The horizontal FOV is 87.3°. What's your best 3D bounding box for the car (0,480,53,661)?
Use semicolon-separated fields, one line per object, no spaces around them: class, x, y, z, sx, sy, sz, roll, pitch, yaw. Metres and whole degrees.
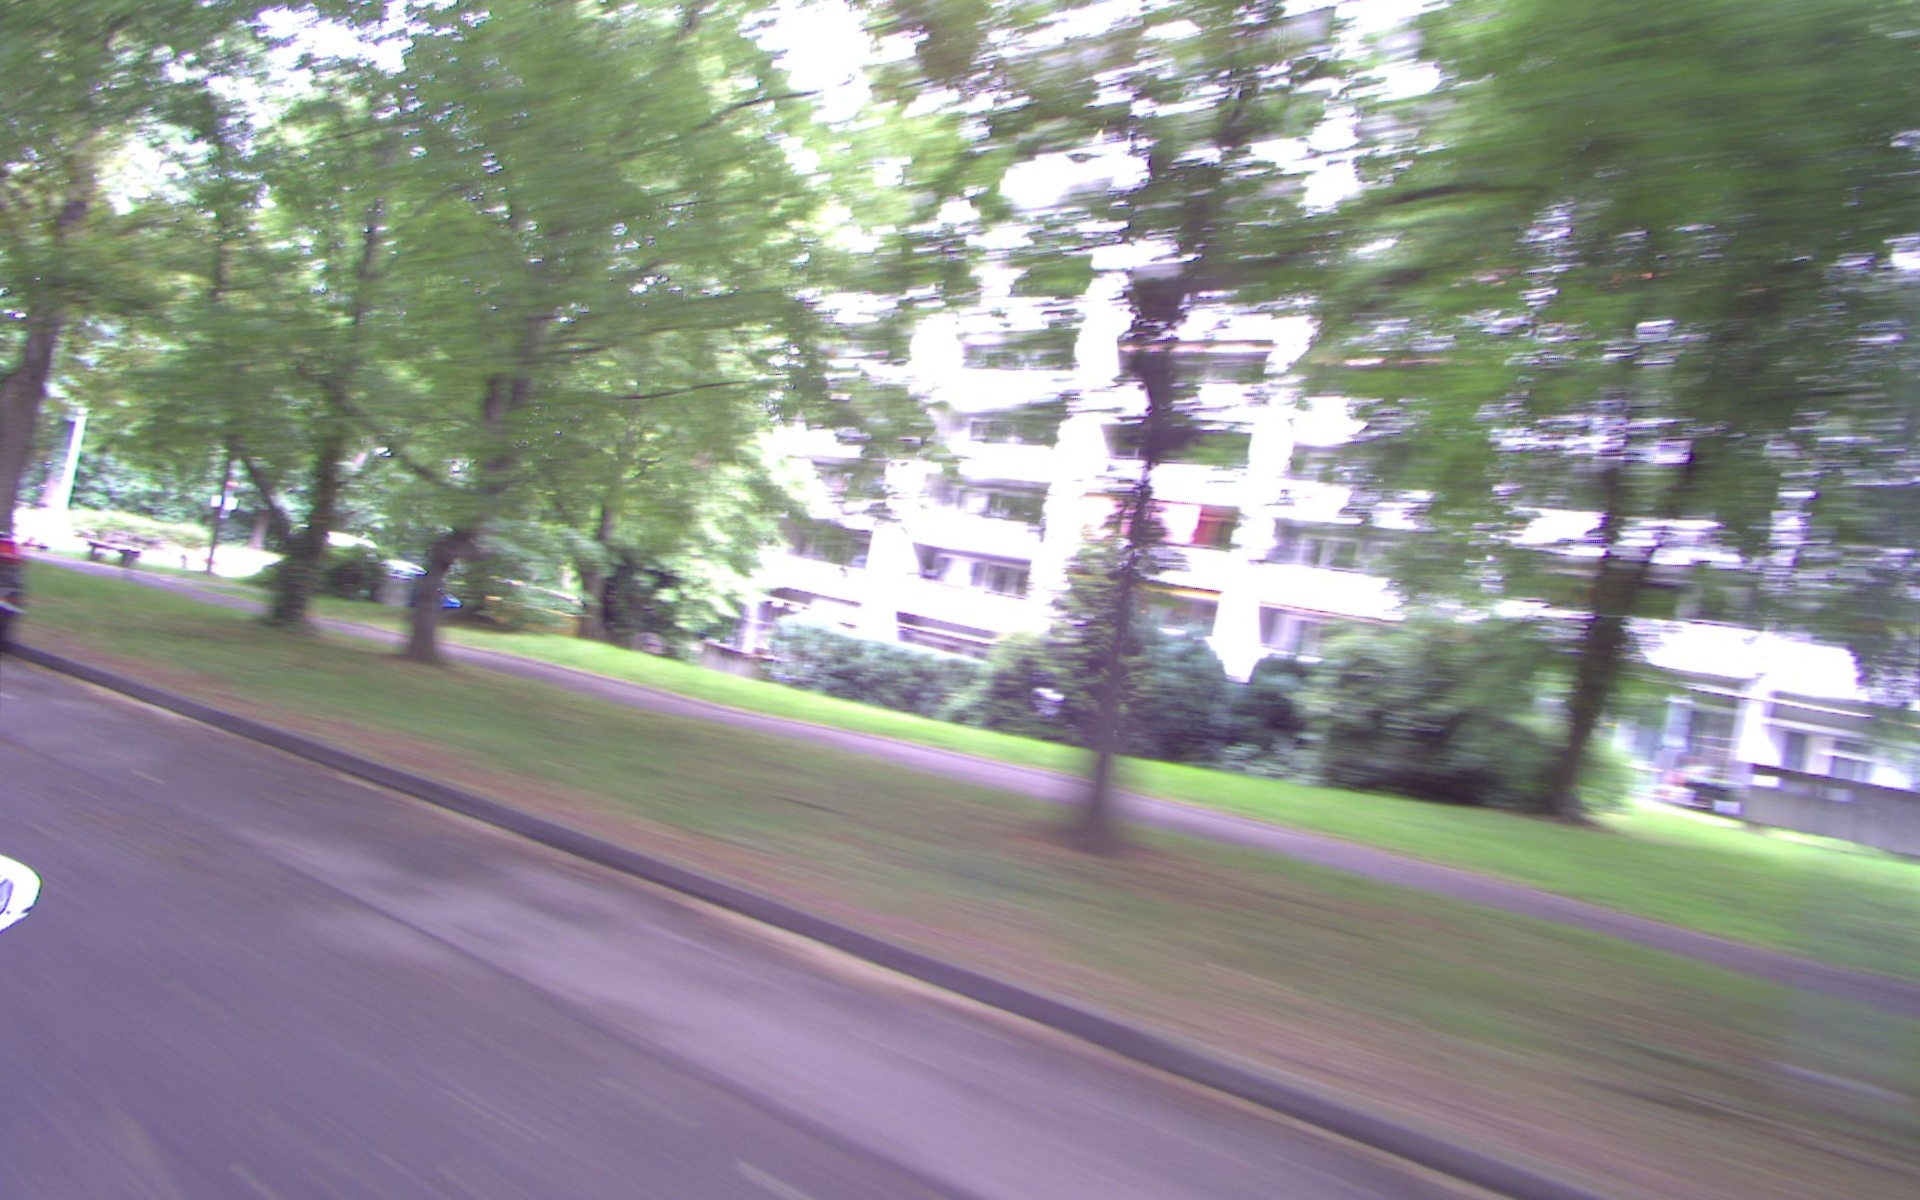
car;-10.362;-0.587;9.153;4.111;1.539;1.780;8;-3;30

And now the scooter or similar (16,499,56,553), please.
scooter or similar;-24.213;-1.945;26.346;1.089;1.300;0.283;8;-2;30

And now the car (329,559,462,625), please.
car;-19.793;-0.269;35.364;1.806;1.586;3.520;8;-4;40

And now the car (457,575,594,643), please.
car;-16.845;0.394;39.188;1.804;1.868;4.405;8;-3;36

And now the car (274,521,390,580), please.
car;-31.074;-2.418;49.907;1.967;2.035;4.217;8;-3;32
